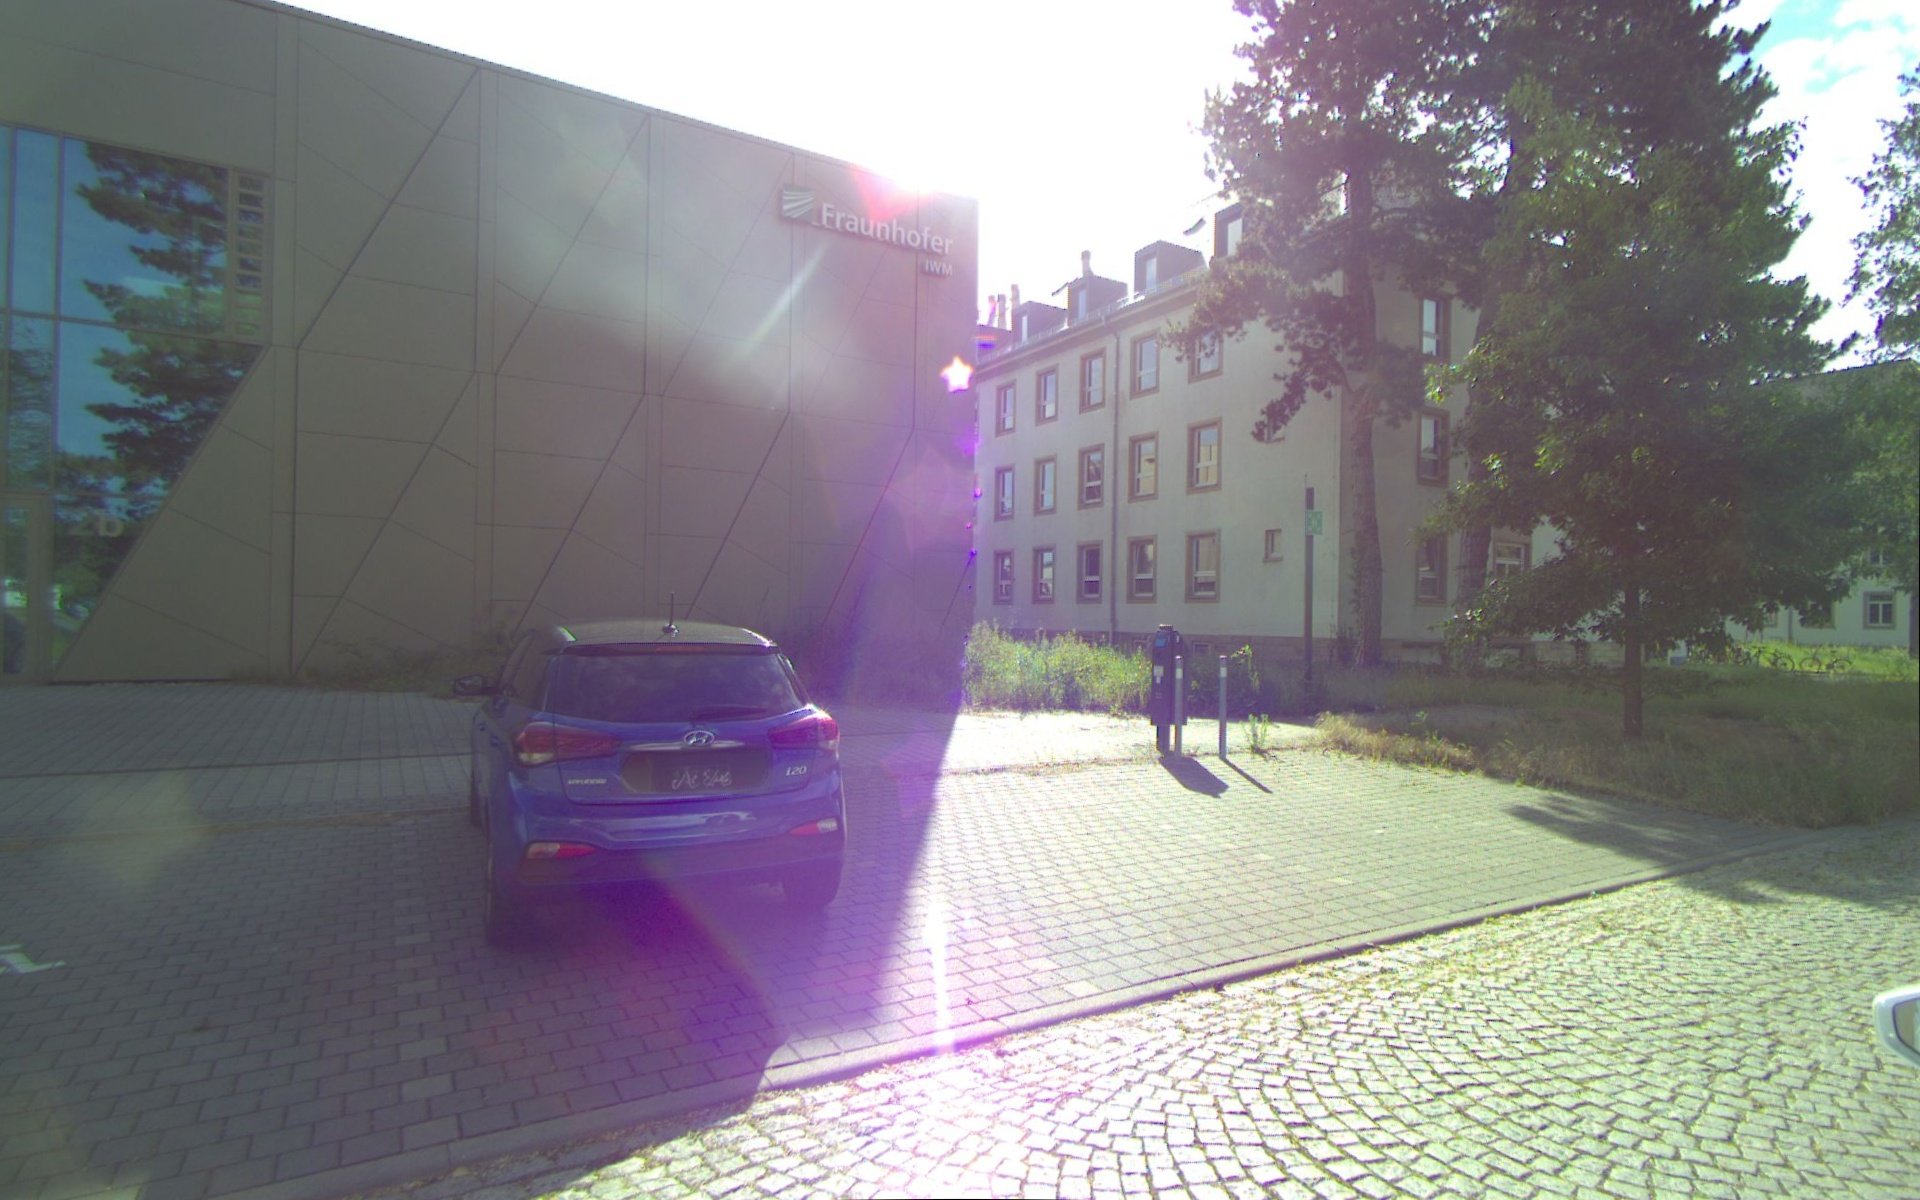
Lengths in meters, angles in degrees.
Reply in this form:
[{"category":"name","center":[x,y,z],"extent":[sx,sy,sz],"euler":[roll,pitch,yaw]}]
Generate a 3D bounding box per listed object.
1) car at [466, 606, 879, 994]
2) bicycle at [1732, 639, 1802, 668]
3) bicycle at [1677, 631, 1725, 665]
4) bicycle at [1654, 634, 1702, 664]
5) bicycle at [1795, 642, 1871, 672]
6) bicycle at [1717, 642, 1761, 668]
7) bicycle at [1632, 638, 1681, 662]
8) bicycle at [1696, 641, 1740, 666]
[{"category":"car","center":[-2.036,0.849,6.179],"extent":[1.698,1.483,3.820],"euler":[2,0,-27]},{"category":"bicycle","center":[33.155,2.197,41.270],"extent":[0.820,1.123,2.104],"euler":[2,-1,-33]},{"category":"bicycle","center":[32.964,2.116,44.685],"extent":[2.524,1.456,0.822],"euler":[2,-1,-31]},{"category":"bicycle","center":[32.325,2.190,45.199],"extent":[2.524,1.298,0.822],"euler":[2,-1,-31]},{"category":"bicycle","center":[34.287,2.228,39.481],"extent":[0.820,1.061,2.104],"euler":[2,-1,-33]},{"category":"bicycle","center":[33.488,2.342,43.170],"extent":[2.100,1.061,0.822],"euler":[2,-1,-31]},{"category":"bicycle","center":[31.880,2.295,45.972],"extent":[2.524,1.061,0.896],"euler":[2,-1,-31]},{"category":"bicycle","center":[33.065,2.329,43.824],"extent":[2.100,1.061,0.822],"euler":[2,-1,-31]}]
